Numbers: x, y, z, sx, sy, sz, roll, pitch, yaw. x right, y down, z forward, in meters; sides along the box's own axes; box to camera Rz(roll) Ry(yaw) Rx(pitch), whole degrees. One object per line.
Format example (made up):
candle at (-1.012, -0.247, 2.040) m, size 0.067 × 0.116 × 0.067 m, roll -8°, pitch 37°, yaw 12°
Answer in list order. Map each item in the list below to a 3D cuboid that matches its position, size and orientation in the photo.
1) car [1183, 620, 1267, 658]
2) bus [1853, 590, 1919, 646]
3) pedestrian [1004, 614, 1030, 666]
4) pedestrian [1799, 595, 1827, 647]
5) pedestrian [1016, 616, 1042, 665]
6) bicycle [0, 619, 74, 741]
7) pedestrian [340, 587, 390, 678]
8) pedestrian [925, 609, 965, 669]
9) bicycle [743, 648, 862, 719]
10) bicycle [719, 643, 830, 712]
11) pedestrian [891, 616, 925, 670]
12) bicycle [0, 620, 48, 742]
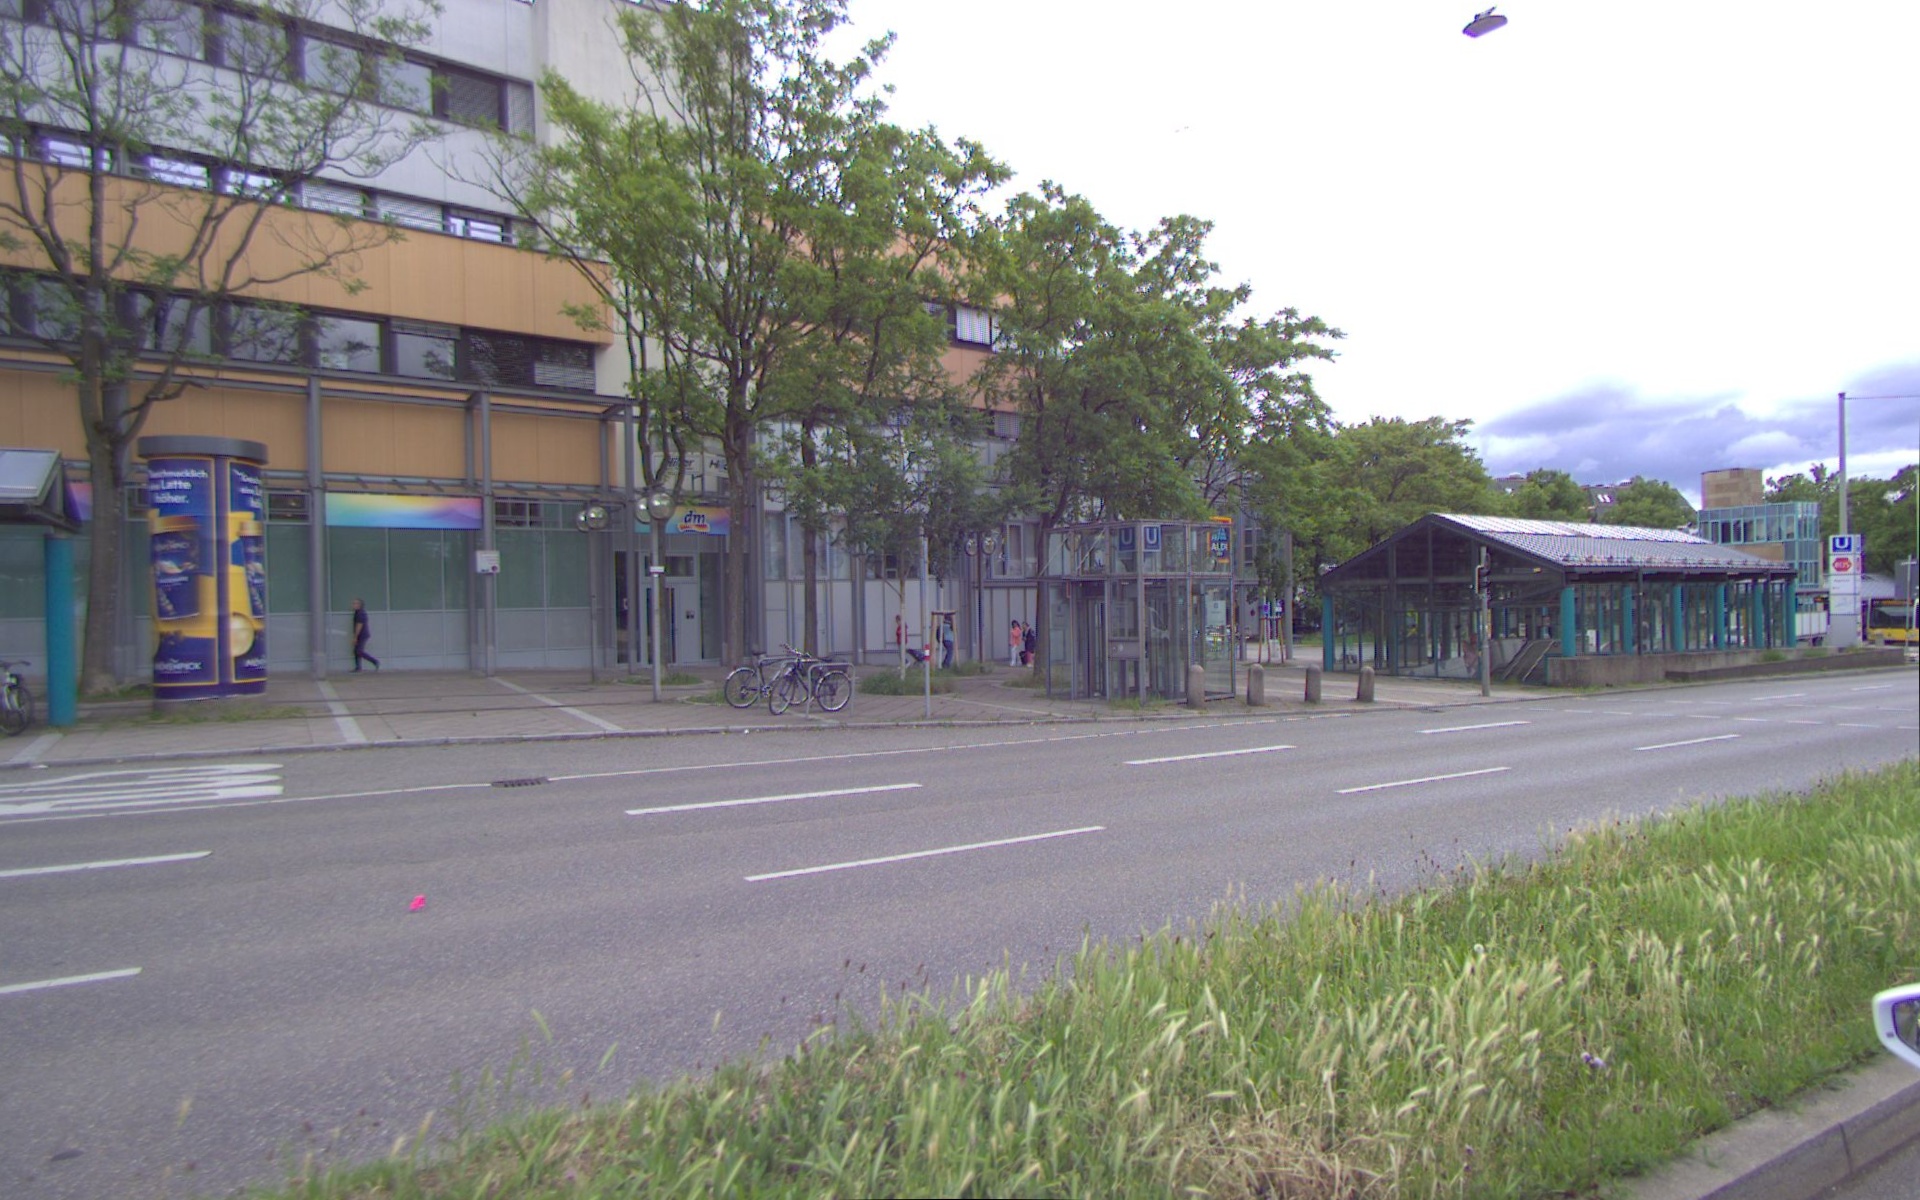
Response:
car at (13.734, 2.001, 52.223) m, size 1.979 × 1.862 × 3.963 m, roll 1°, pitch -2°, yaw -34°
bus at (62.577, 1.192, 65.336) m, size 10.588 × 3.476 × 2.823 m, roll 1°, pitch -1°, yaw -25°
pedestrian at (1.931, 1.339, 33.939) m, size 0.674 × 1.750 × 0.560 m, roll 0°, pitch -1°, yaw -38°
pedestrian at (33.676, 0.831, 39.654) m, size 0.639 × 2.040 × 0.677 m, roll 1°, pitch -1°, yaw -33°
pedestrian at (2.305, 1.345, 33.440) m, size 0.674 × 1.610 × 0.513 m, roll 0°, pitch -1°, yaw -38°
bicycle at (-12.804, 1.034, 13.896) m, size 0.593 × 1.526 × 2.878 m, roll 0°, pitch -1°, yaw -37°
pedestrian at (-13.709, 0.750, 23.139) m, size 0.925 × 2.040 × 0.890 m, roll 1°, pitch -1°, yaw -35°
pedestrian at (-0.436, 1.147, 29.793) m, size 0.879 × 1.739 × 0.764 m, roll 0°, pitch 1°, yaw -38°
bicycle at (-2.721, 1.422, 17.490) m, size 1.922 × 1.098 × 0.822 m, roll 1°, pitch -1°, yaw -43°
bicycle at (-3.376, 1.385, 18.379) m, size 1.943 × 1.151 × 0.706 m, roll 1°, pitch -1°, yaw -44°
pedestrian at (-1.565, 1.301, 30.435) m, size 0.818 × 1.607 × 0.629 m, roll 1°, pitch -1°, yaw -39°
bicycle at (-12.994, 1.035, 13.594) m, size 0.694 × 1.526 × 2.878 m, roll 0°, pitch -1°, yaw -37°
